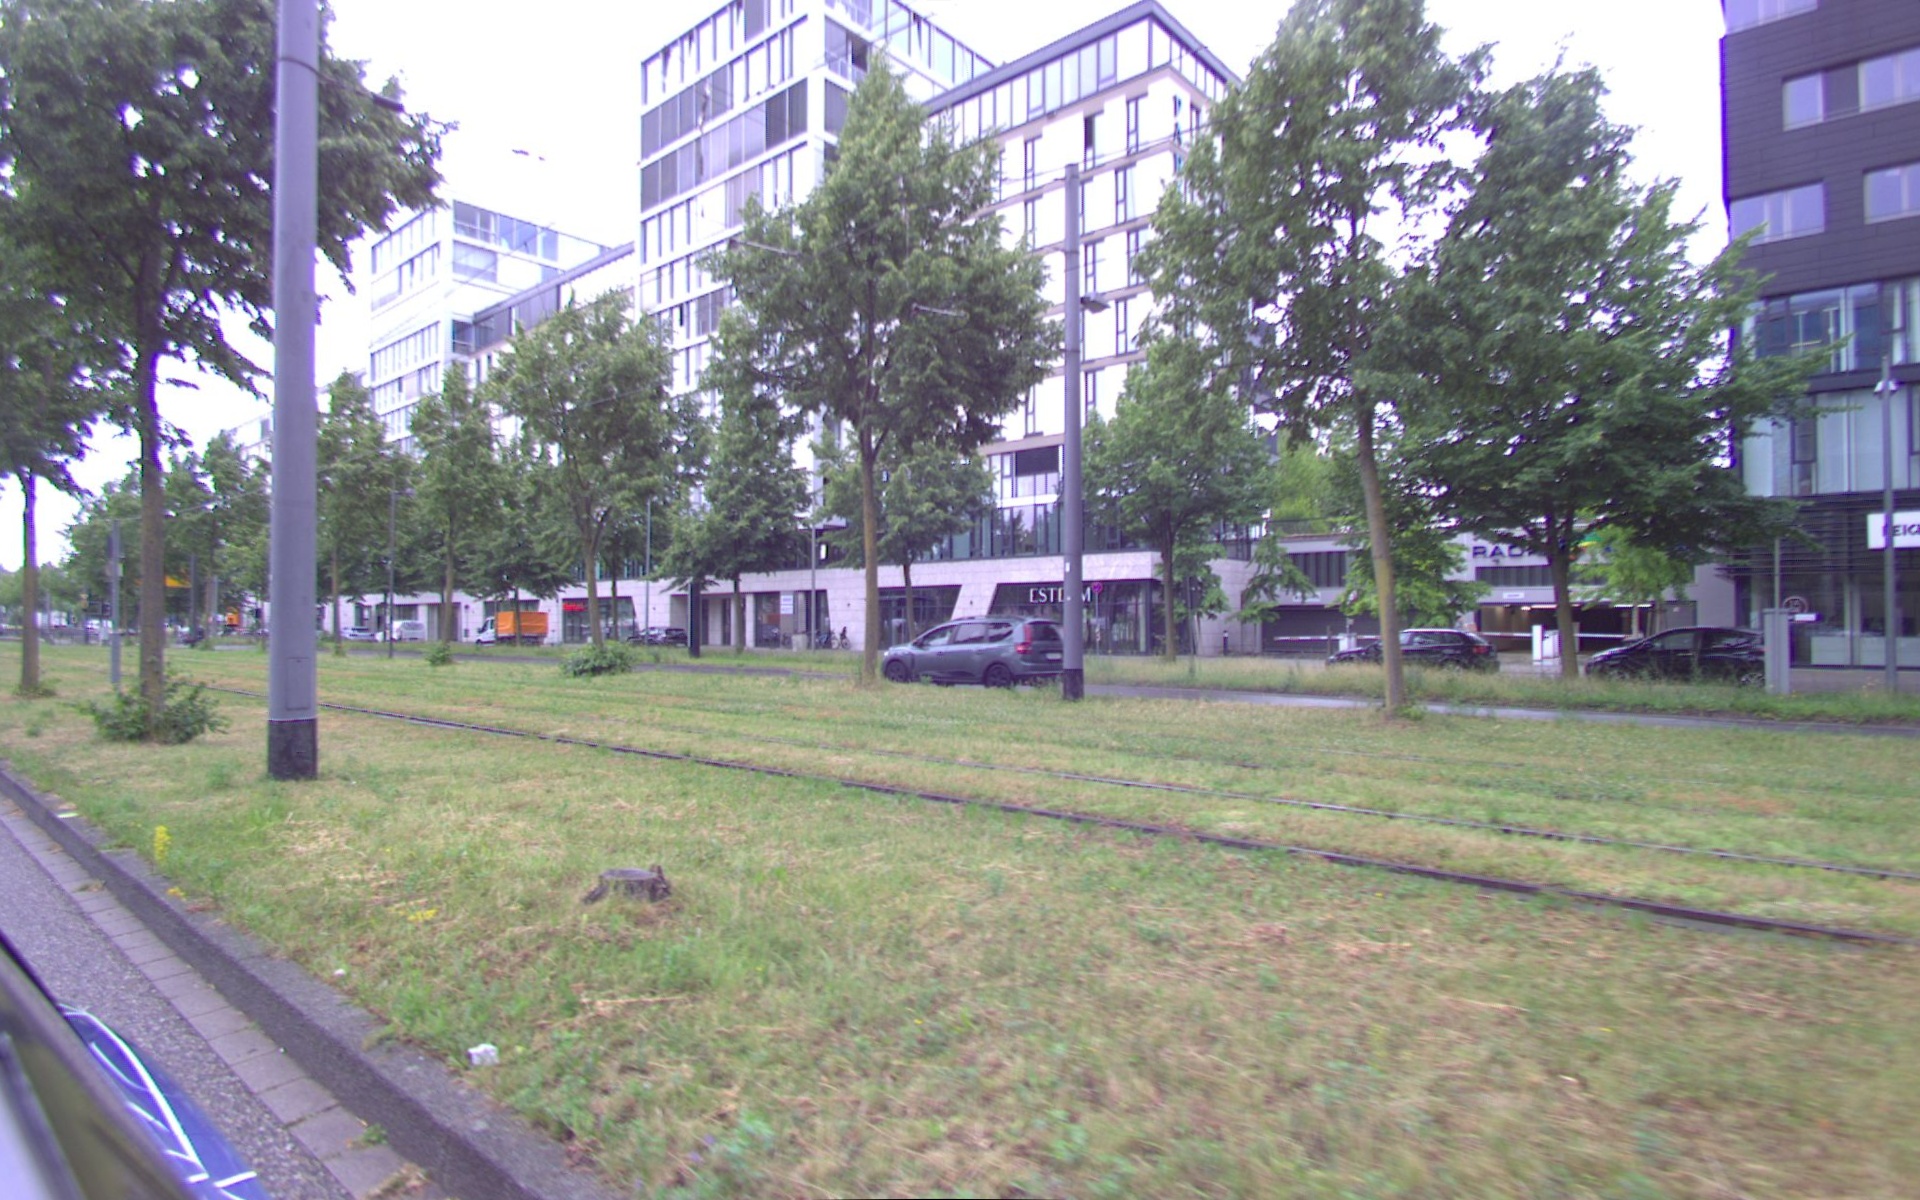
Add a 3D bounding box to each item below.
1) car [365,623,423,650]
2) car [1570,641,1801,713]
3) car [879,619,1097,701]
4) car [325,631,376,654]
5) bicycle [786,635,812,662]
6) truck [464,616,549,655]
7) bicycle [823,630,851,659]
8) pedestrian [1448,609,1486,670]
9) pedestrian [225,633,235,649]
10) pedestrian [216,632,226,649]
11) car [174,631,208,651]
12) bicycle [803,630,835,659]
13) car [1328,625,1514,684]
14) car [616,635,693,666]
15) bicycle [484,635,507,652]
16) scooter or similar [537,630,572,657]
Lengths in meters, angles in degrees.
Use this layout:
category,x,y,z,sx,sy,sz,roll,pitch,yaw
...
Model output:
category,x,y,z,sx,sy,sz,roll,pitch,yaw
car,-41.062,2.658,73.379,5.161,1.866,1.973,-2,-2,41
car,16.077,1.639,22.525,3.998,1.389,1.973,-2,-2,41
car,0.495,1.199,21.308,4.477,1.536,1.843,-2,-2,42
car,-47.501,3.322,78.888,4.461,1.725,2.122,-2,-2,41
bicycle,-9.108,2.727,57.374,0.546,1.494,1.417,-2,-1,40
truck,-28.123,2.200,62.683,6.305,2.309,2.401,-2,-2,41
bicycle,-6.732,2.431,55.509,0.606,1.550,1.552,-2,-1,40
pedestrian,17.044,1.313,34.040,0.784,1.996,0.857,0,-2,-41
pedestrian,-75.379,4.226,104.519,0.793,1.704,0.703,-2,-2,44
pedestrian,-75.931,4.182,103.991,0.793,1.704,0.703,-2,-2,44
car,-68.139,3.615,89.648,1.971,1.669,3.701,1,-2,-45
bicycle,-7.812,2.460,56.110,0.680,1.550,1.686,-2,-1,40
car,11.945,1.368,26.319,3.998,1.389,1.973,-2,-2,41
car,-15.144,2.473,50.133,3.986,1.476,1.836,-2,-2,41
bicycle,-26.830,2.526,58.445,1.758,0.952,0.592,-2,-2,45
scooter or similar,-28.762,3.094,71.801,0.883,1.838,2.105,-2,-2,37
